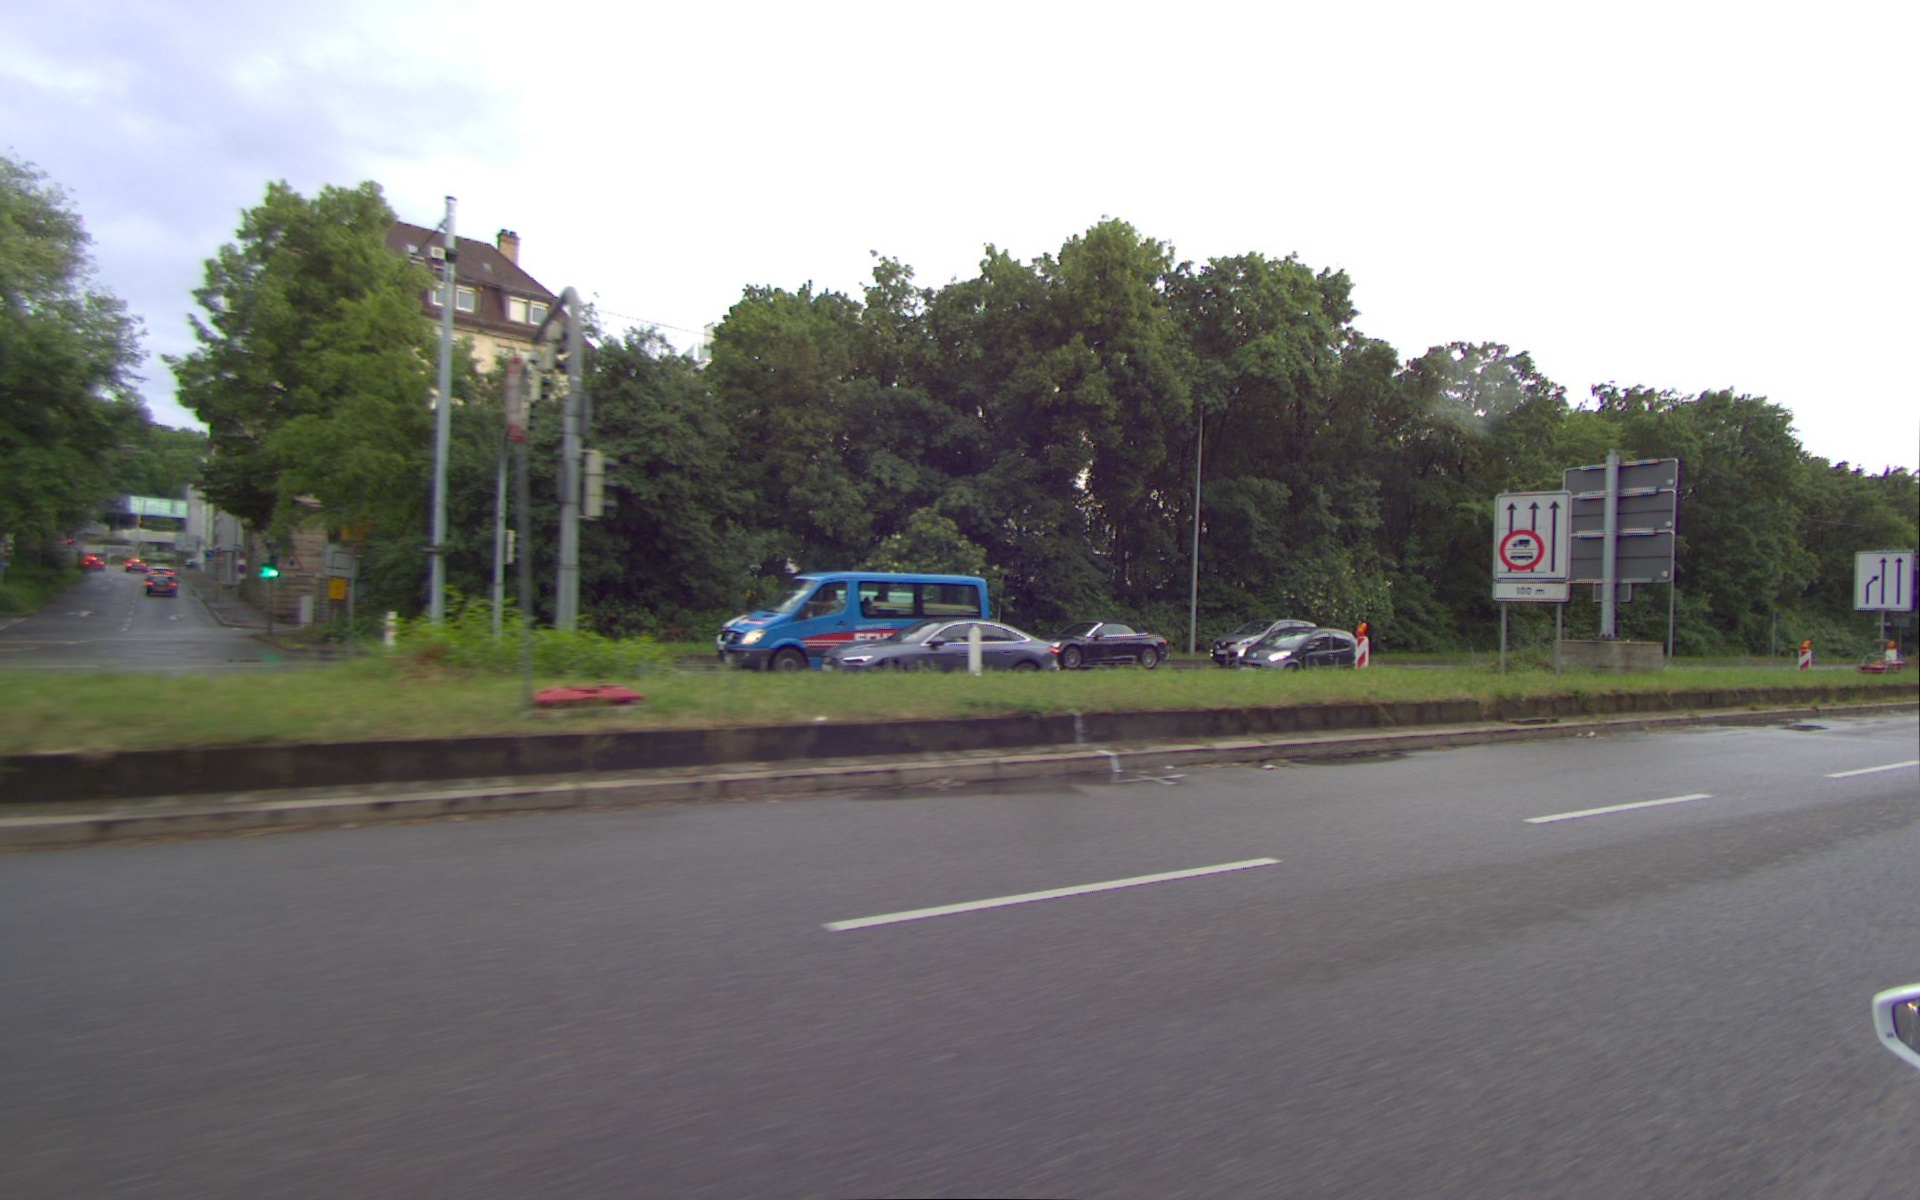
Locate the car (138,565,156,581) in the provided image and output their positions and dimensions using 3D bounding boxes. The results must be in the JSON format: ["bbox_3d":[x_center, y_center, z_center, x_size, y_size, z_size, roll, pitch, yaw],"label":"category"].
[{"bbox_3d":[-92.927,-3.041,114.845,1.578,1.680,3.464,3,-1,-39],"label":"car"}]

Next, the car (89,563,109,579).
[{"bbox_3d":[-97.781,-3.279,114.122,1.578,1.754,3.464,3,-1,-39],"label":"car"}]

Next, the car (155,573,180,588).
[{"bbox_3d":[-67.825,-1.662,85.948,1.578,1.179,3.464,3,-1,-39],"label":"car"}]

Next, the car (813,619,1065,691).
[{"bbox_3d":[-0.352,1.056,19.121,4.588,1.216,1.543,2,-1,-28],"label":"car"}]

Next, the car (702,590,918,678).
[{"bbox_3d":[-3.703,0.810,25.045,4.930,2.001,2.025,1,0,-30],"label":"car"}]

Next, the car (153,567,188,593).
[{"bbox_3d":[-55.249,-1.369,70.274,1.862,1.680,3.464,3,-1,-39],"label":"car"}]

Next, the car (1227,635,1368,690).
[{"bbox_3d":[8.178,1.503,24.299,3.260,1.216,1.423,2,-1,-29],"label":"car"}]

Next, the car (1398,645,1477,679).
[{"bbox_3d":[17.433,2.240,36.661,2.759,1.100,1.264,1,0,-29],"label":"car"}]

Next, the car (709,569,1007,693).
[{"bbox_3d":[-2.163,0.656,22.091,6.169,2.422,2.185,1,0,-30],"label":"car"}]

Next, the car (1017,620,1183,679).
[{"bbox_3d":[4.051,1.439,28.881,4.578,1.543,1.785,2,-1,-29],"label":"car"}]

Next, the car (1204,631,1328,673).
[{"bbox_3d":[9.846,1.680,32.261,3.882,1.216,1.542,2,-1,-29],"label":"car"}]
